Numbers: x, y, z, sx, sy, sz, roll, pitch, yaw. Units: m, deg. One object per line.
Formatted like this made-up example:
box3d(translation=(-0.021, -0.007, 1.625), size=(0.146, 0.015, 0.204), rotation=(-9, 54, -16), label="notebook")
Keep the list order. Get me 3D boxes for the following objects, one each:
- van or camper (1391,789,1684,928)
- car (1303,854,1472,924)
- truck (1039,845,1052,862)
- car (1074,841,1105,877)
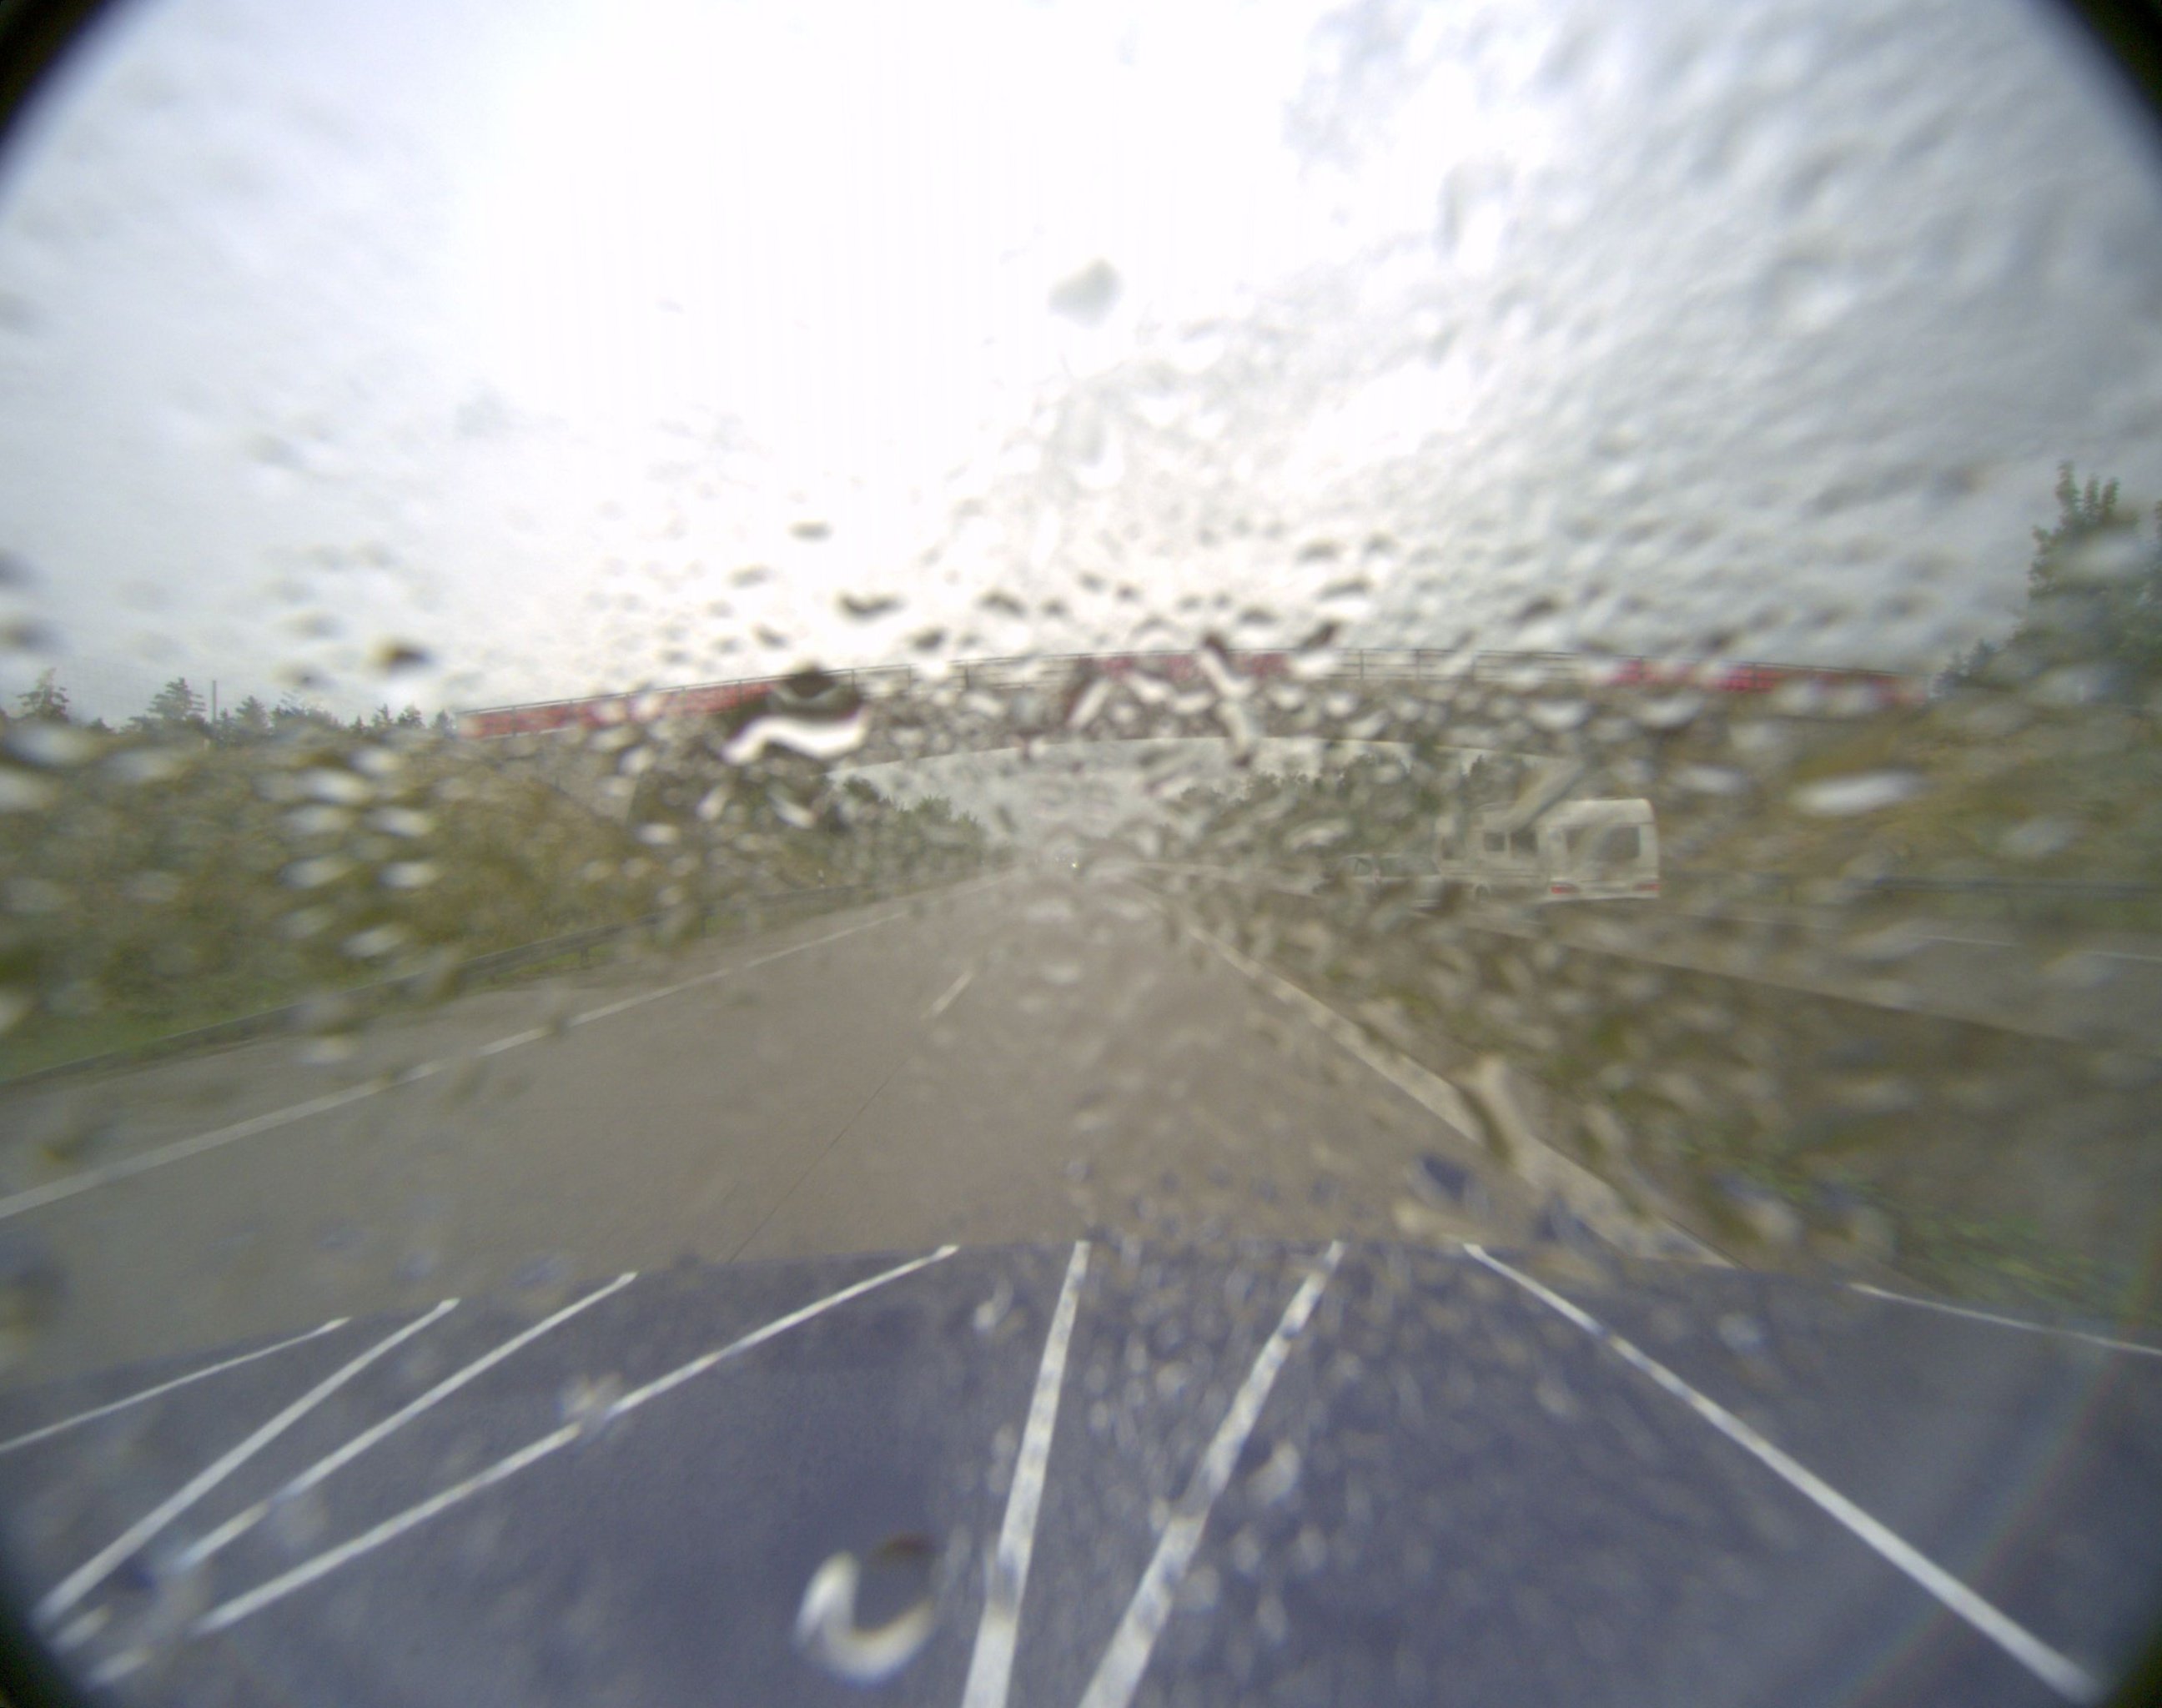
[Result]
box3d(translation=(10.584, 0.190, 18.913), size=(2.450, 2.579, 7.929), rotation=(-3, -1, 1), label="van or camper")
box3d(translation=(6.592, 0.680, 16.966), size=(1.998, 1.303, 4.511), rotation=(-1, 0, 1), label="car")
box3d(translation=(-8.861, -0.127, 187.327), size=(2.768, 4.062, 5.435), rotation=(1, -2, -7), label="truck")
box3d(translation=(0.564, 0.391, 47.427), size=(1.795, 2.113, 4.526), rotation=(0, -2, 2), label="car")
